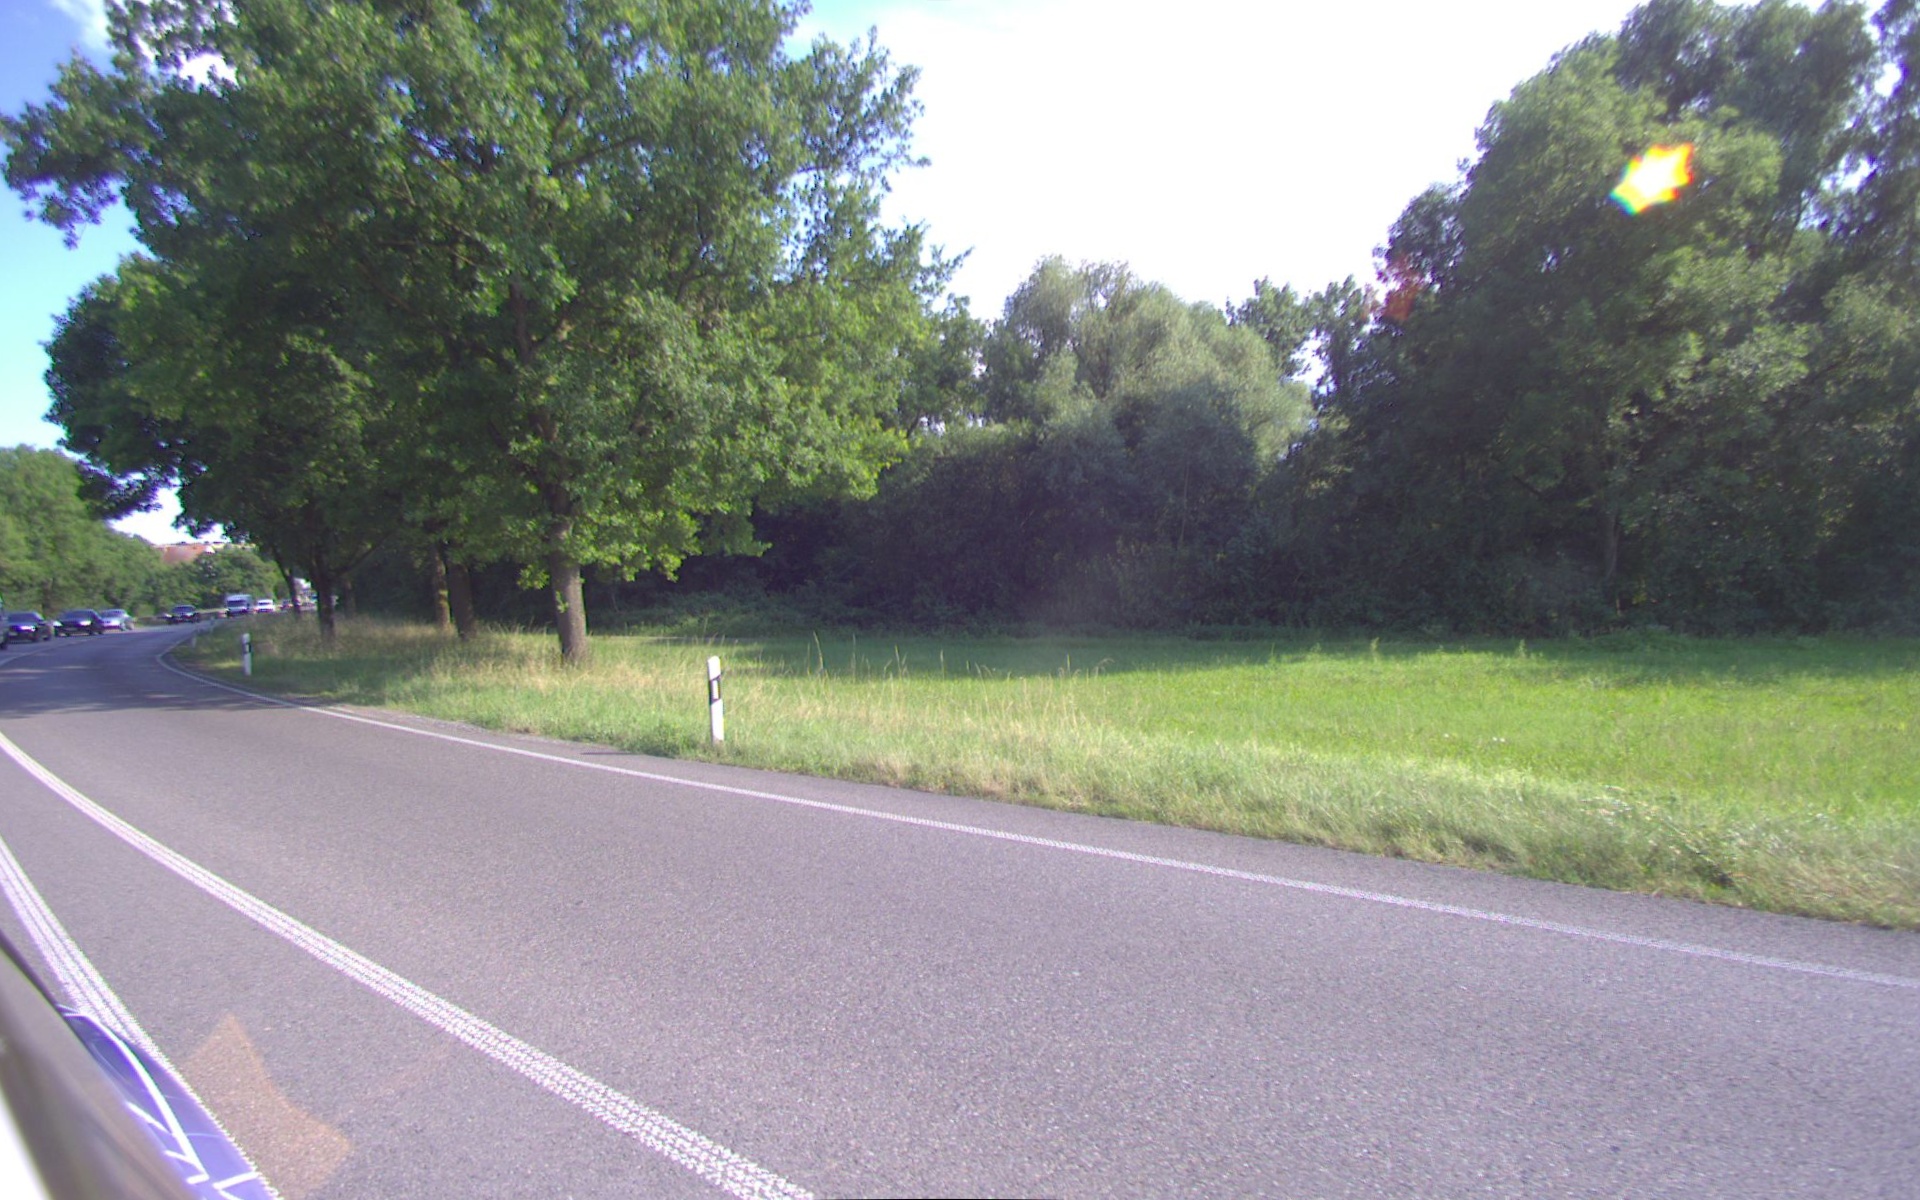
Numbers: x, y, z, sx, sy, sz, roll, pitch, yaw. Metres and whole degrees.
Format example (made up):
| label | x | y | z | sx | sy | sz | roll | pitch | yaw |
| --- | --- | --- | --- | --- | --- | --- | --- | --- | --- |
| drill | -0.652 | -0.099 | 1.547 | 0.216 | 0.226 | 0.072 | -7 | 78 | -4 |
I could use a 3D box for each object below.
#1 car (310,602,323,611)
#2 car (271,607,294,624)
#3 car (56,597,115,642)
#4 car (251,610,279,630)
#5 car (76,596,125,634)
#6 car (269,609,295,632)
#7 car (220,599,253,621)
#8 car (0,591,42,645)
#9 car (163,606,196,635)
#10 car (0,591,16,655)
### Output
| label | x | y | z | sx | sy | sz | roll | pitch | yaw |
| --- | --- | --- | --- | --- | --- | --- | --- | --- | --- |
| car | -132.155 | 1.347 | 207.813 | 1.864 | 1.643 | 4.265 | -1 | 1 | -27 |
| car | -105.217 | 2.411 | 157.254 | 2.054 | 2.435 | 5.159 | -1 | 1 | -24 |
| car | -50.416 | 1.064 | 58.413 | 2.055 | 2.435 | 5.155 | -1 | 1 | -35 |
| car | -91.645 | 2.650 | 133.476 | 2.054 | 2.435 | 5.159 | -1 | 1 | -24 |
| car | -58.075 | 0.982 | 68.442 | 2.055 | 2.435 | 5.155 | -1 | 1 | -35 |
| car | -74.438 | 2.209 | 111.165 | 2.054 | 2.435 | 5.158 | -1 | 1 | -31 |
| car | -83.465 | 1.150 | 116.769 | 2.054 | 2.435 | 5.159 | -1 | 1 | -24 |
| car | -44.699 | 0.816 | 47.272 | 2.055 | 2.435 | 5.155 | -1 | 1 | -35 |
| car | -68.757 | 1.750 | 89.246 | 2.055 | 2.435 | 5.155 | -1 | 1 | -35 |
| car | -37.609 | 0.896 | 38.146 | 2.055 | 2.435 | 5.157 | -1 | 1 | -33 |
